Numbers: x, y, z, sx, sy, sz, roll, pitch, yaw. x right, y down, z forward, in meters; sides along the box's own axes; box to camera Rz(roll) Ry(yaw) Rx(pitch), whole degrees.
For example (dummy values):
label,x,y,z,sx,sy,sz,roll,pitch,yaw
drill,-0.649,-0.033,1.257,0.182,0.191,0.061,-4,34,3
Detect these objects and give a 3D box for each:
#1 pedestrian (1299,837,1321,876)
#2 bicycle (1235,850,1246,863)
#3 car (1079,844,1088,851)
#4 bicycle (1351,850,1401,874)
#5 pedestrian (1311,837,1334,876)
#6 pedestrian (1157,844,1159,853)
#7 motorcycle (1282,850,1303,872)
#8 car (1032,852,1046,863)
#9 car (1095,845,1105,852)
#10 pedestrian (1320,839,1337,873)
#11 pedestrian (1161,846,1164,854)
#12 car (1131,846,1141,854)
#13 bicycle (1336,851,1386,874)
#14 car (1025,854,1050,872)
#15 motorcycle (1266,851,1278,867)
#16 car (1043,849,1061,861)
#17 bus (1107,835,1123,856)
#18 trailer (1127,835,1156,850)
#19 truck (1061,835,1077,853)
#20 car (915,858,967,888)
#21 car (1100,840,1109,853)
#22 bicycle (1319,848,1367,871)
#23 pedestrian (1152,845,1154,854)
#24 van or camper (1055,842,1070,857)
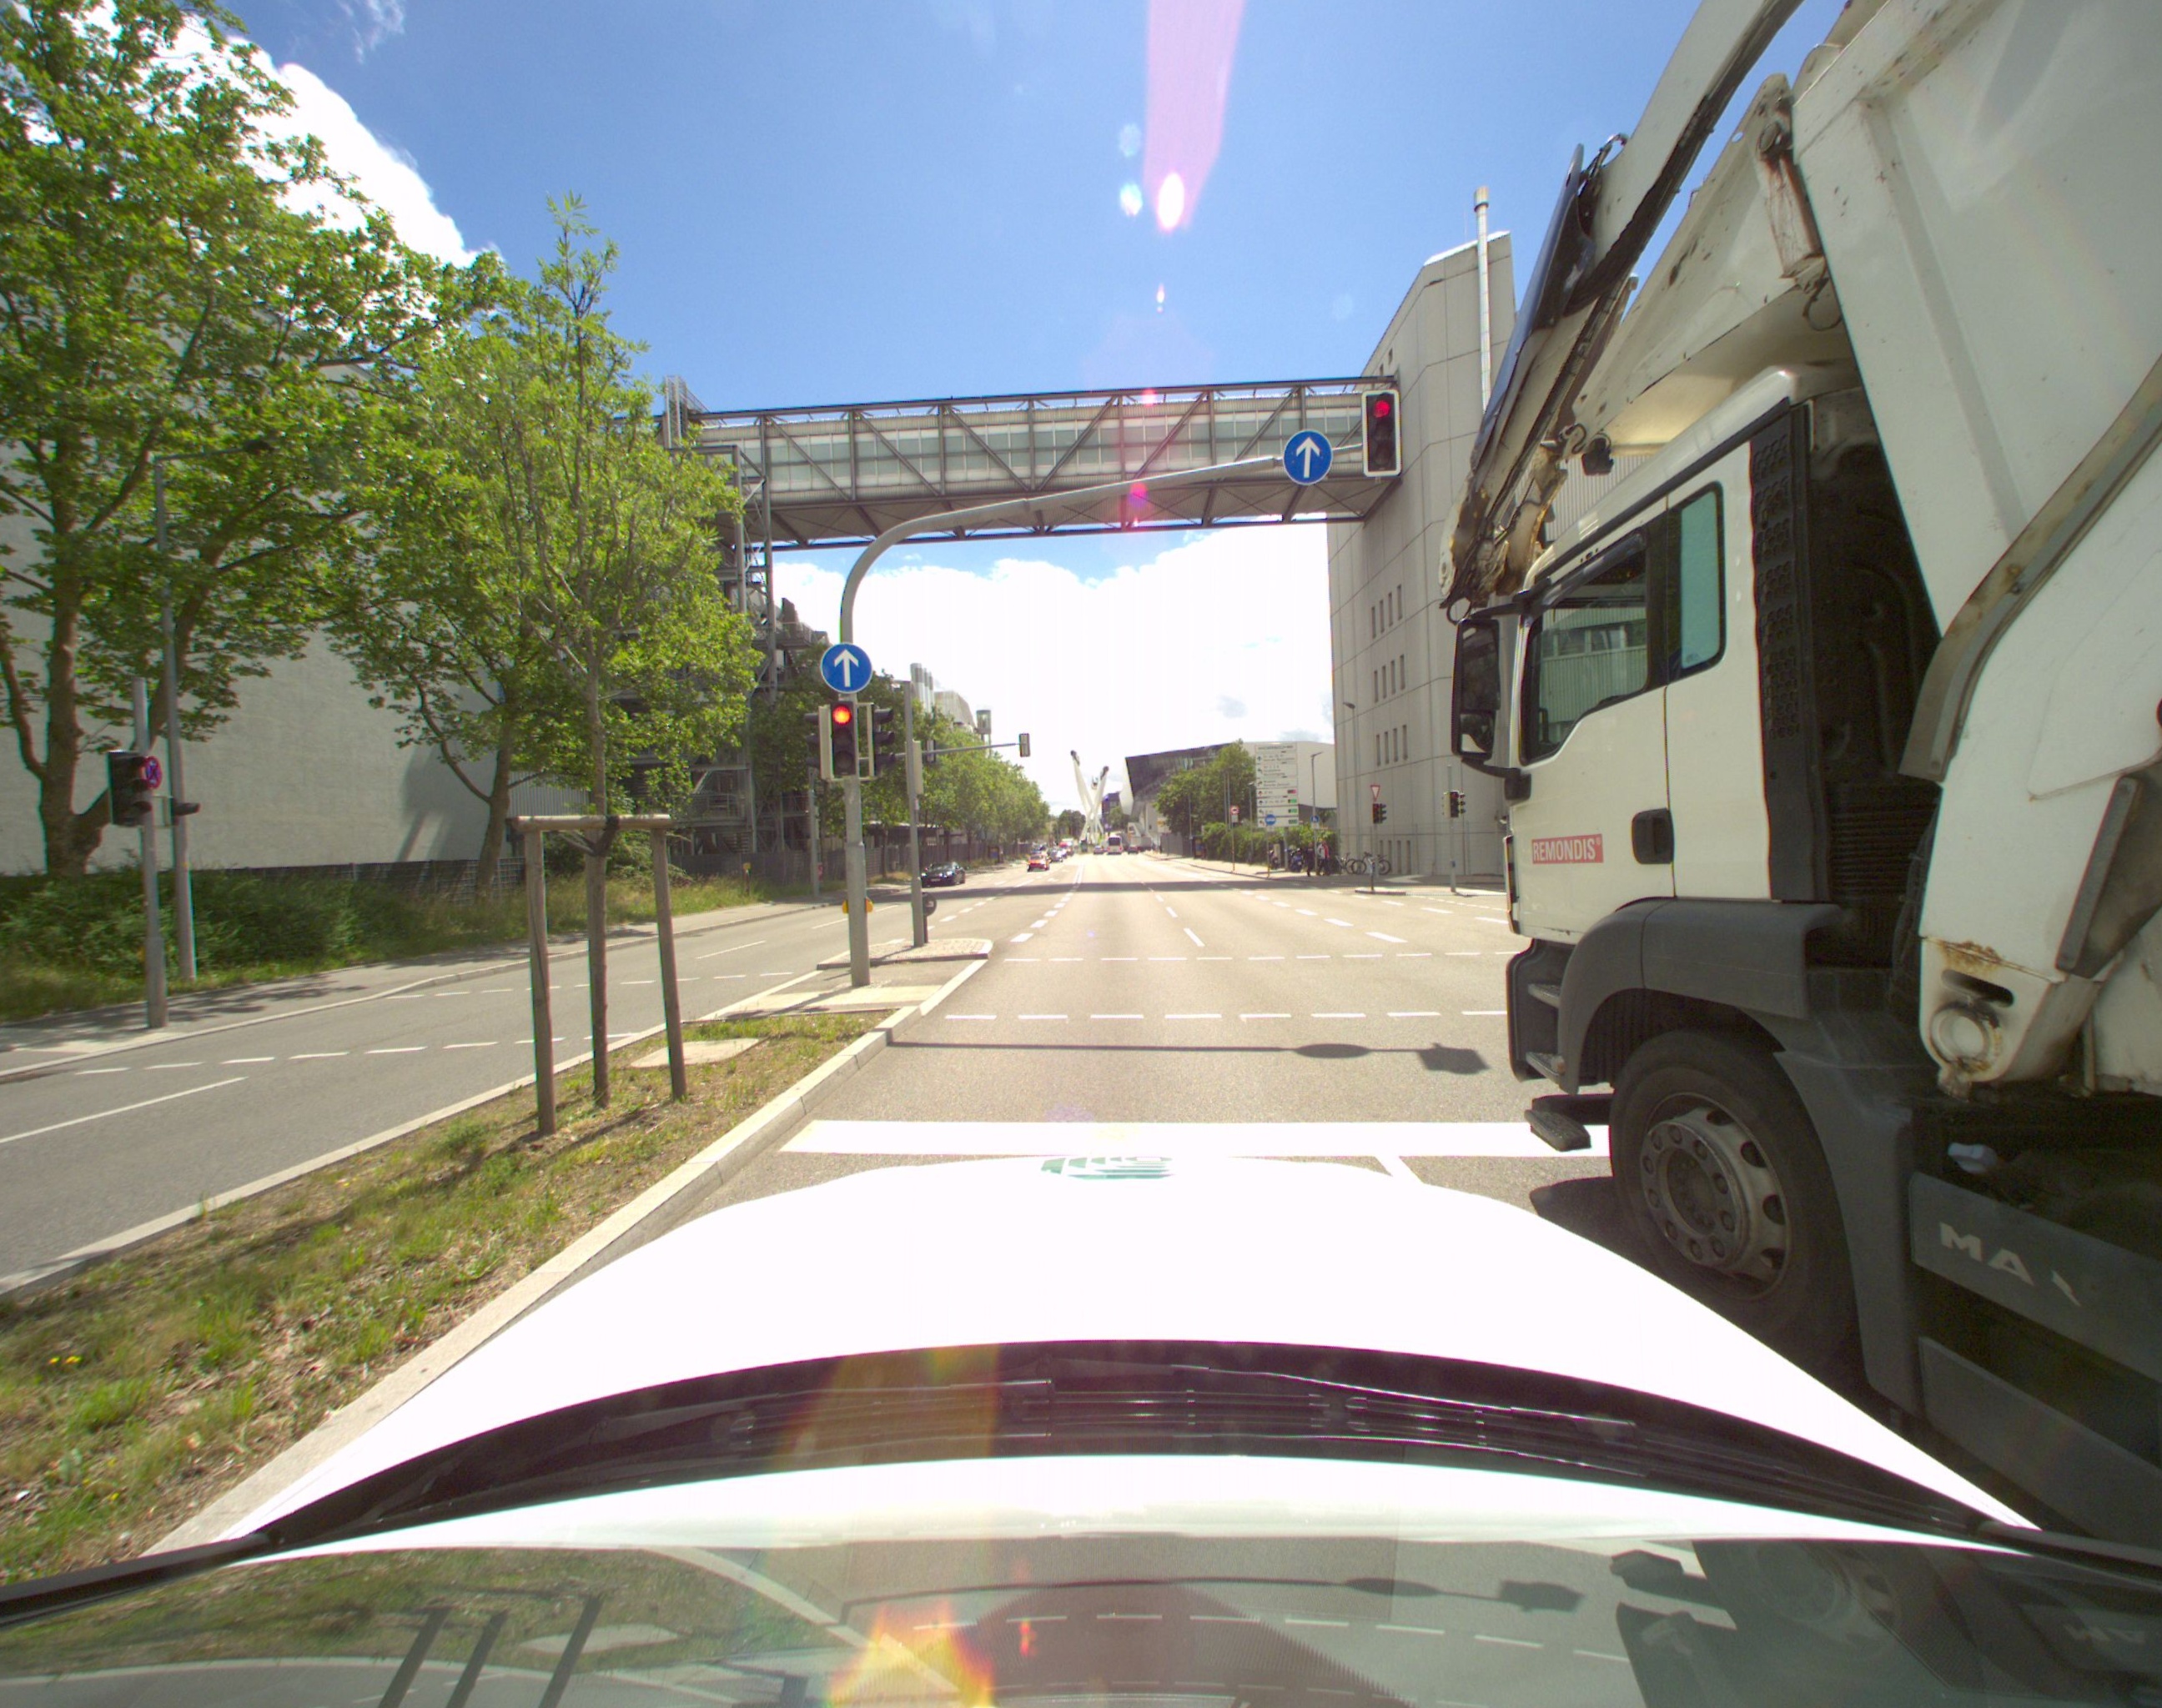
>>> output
label,x,y,z,sx,sy,sz,roll,pitch,yaw
pedestrian,10.992,0.111,39.130,0.642,1.793,0.709,-4,0,-14
bicycle,12.724,0.176,65.134,0.417,1.022,1.911,0,-1,-2
car,0.496,-1.208,155.777,1.551,1.273,3.704,-4,0,3
bicycle,13.885,0.391,38.343,2.166,1.086,0.480,-1,-1,37
pedestrian,11.630,0.112,39.269,0.692,1.793,0.709,-4,0,-14
pedestrian,12.941,-0.932,136.583,0.384,1.421,0.424,0,-1,2
motorcycle,11.650,0.398,44.899,0.418,1.166,1.951,0,-1,-9
car,-6.234,0.443,120.296,1.792,1.574,4.000,-1,0,0
car,3.519,-1.034,148.891,1.551,1.273,3.704,-4,0,3
pedestrian,12.150,0.112,39.978,0.535,1.640,0.653,0,-1,-23
pedestrian,13.721,-0.647,136.866,0.384,1.421,0.424,0,-1,2
car,9.856,-0.683,146.217,1.551,1.273,3.704,-4,0,3
bicycle,13.518,0.402,39.364,2.196,1.086,0.480,-1,-1,37
car,-3.736,0.771,70.373,1.762,1.420,3.704,-4,0,3
motorcycle,12.174,0.338,51.876,0.455,1.022,1.914,0,-1,4
car,-3.617,0.121,101.750,1.762,1.420,3.704,-4,0,3
bus,6.209,-1.541,149.029,2.776,3.686,6.947,0,-1,3
trailer,12.846,-2.421,172.086,3.291,2.995,10.429,-1,-1,21
truck,-2.225,-1.917,155.061,2.581,3.324,7.083,0,-1,3
car,-8.084,1.081,47.467,1.910,1.488,4.775,-4,0,3
car,4.852,-1.608,171.348,1.837,2.624,4.000,0,-1,1
bicycle,13.084,0.279,40.708,2.196,1.086,0.480,-1,-1,37
pedestrian,12.176,-0.745,137.831,0.384,1.421,0.424,0,-1,2
van or camper,-3.161,-0.782,138.925,2.038,2.466,5.598,-1,0,3
